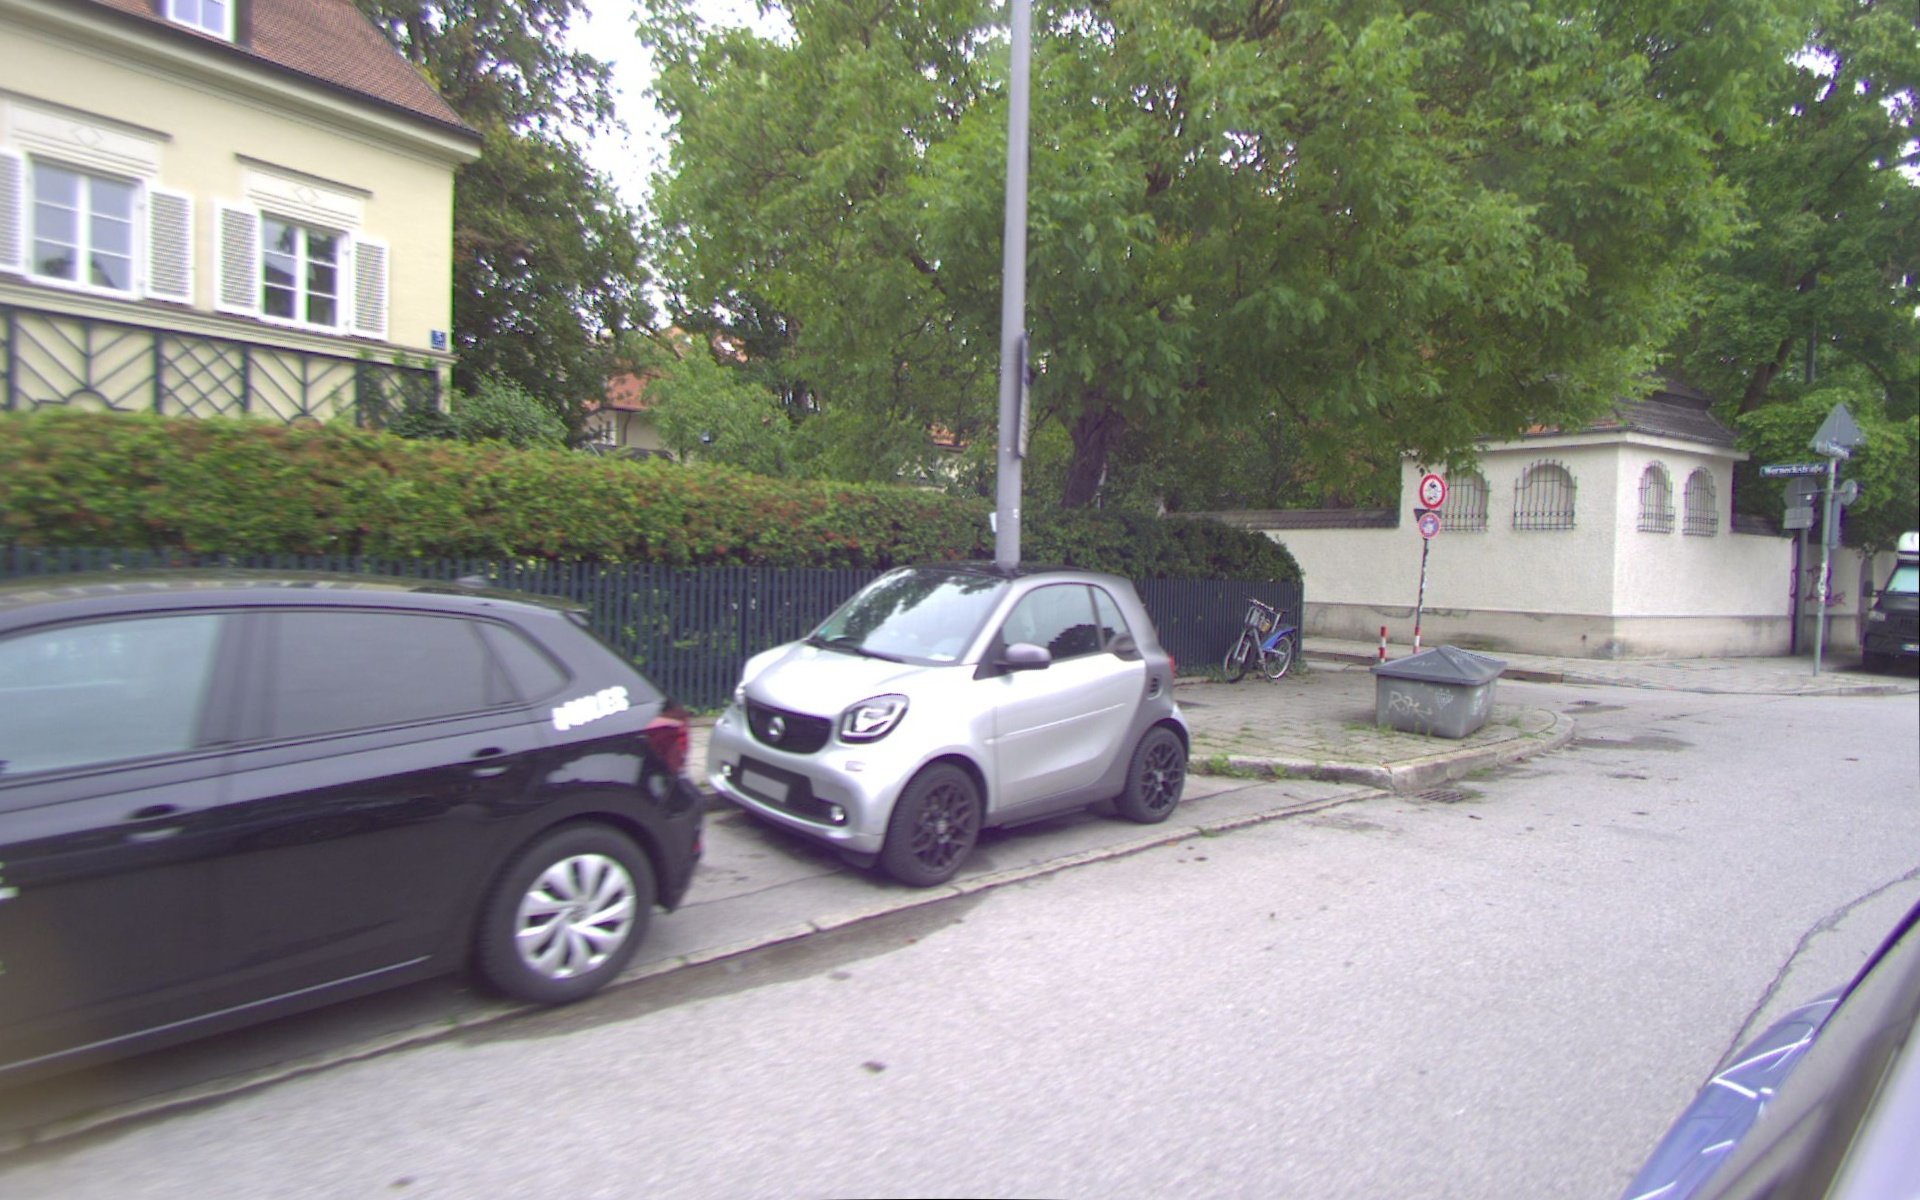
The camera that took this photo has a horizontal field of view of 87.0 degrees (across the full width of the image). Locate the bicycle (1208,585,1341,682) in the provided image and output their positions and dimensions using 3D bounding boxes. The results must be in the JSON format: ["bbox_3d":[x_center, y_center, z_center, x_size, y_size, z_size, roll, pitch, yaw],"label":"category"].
[{"bbox_3d":[4.225,0.419,13.533,1.939,1.176,0.807,1,2,-43],"label":"bicycle"}]

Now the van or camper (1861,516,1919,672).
[{"bbox_3d":[21.301,-0.064,20.856,7.135,2.942,2.281,1,2,-34],"label":"van or camper"}]

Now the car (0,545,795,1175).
[{"bbox_3d":[-2.791,0.584,3.175,1.879,1.444,4.154,5,4,45],"label":"car"}]

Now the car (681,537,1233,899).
[{"bbox_3d":[0.083,0.457,6.070,2.899,1.554,1.741,-1,4,-45],"label":"car"}]
